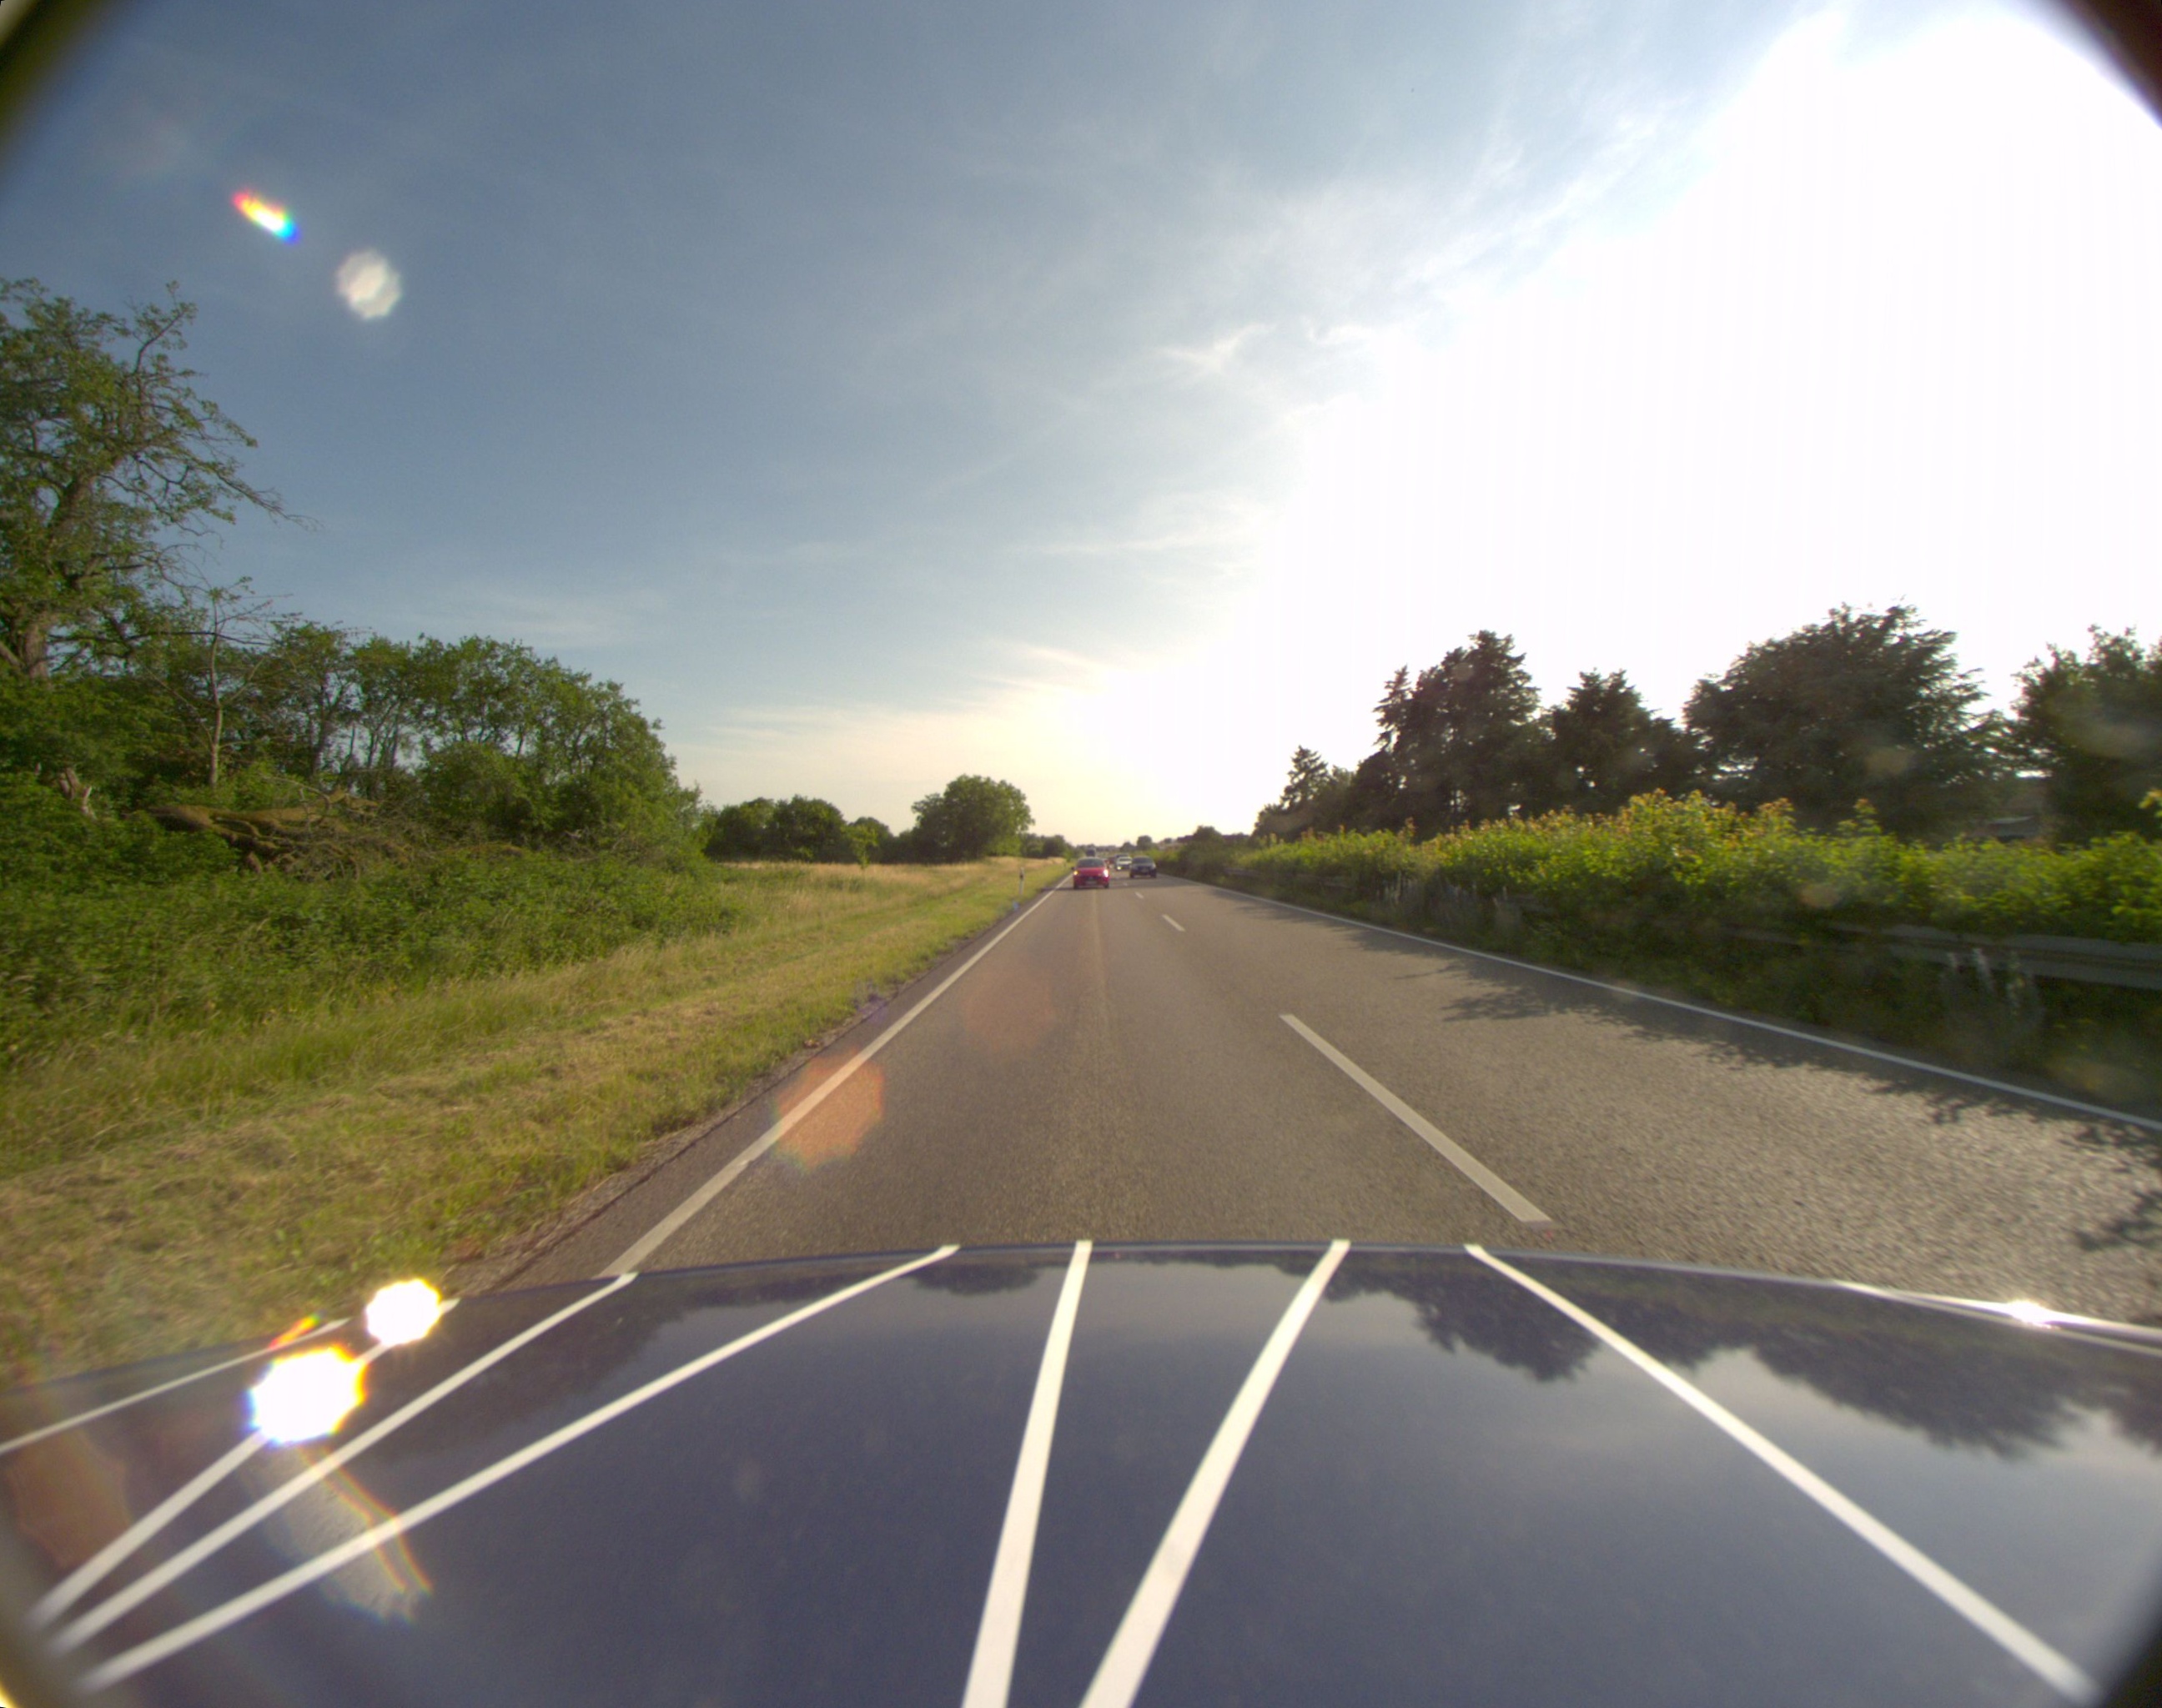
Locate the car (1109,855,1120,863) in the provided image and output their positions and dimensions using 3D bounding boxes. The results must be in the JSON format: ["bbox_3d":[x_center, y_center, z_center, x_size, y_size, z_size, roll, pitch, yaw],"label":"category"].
[{"bbox_3d":[6.250,0.933,143.860,1.998,1.412,4.000,-2,0,2],"label":"car"}]

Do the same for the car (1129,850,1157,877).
[{"bbox_3d":[4.272,0.627,52.592,1.693,1.695,4.000,-2,0,2],"label":"car"}]

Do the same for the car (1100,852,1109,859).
[{"bbox_3d":[5.311,0.328,172.880,1.998,1.412,4.000,-2,0,2],"label":"car"}]

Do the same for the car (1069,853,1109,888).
[{"bbox_3d":[0.435,0.786,37.458,1.821,1.565,4.000,-2,0,2],"label":"car"}]

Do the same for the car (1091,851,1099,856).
[{"bbox_3d":[3.949,-0.130,212.319,1.998,1.412,4.000,-2,0,2],"label":"car"}]

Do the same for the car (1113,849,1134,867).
[{"bbox_3d":[4.403,0.360,79.390,1.998,1.762,4.000,-2,0,2],"label":"car"}]
